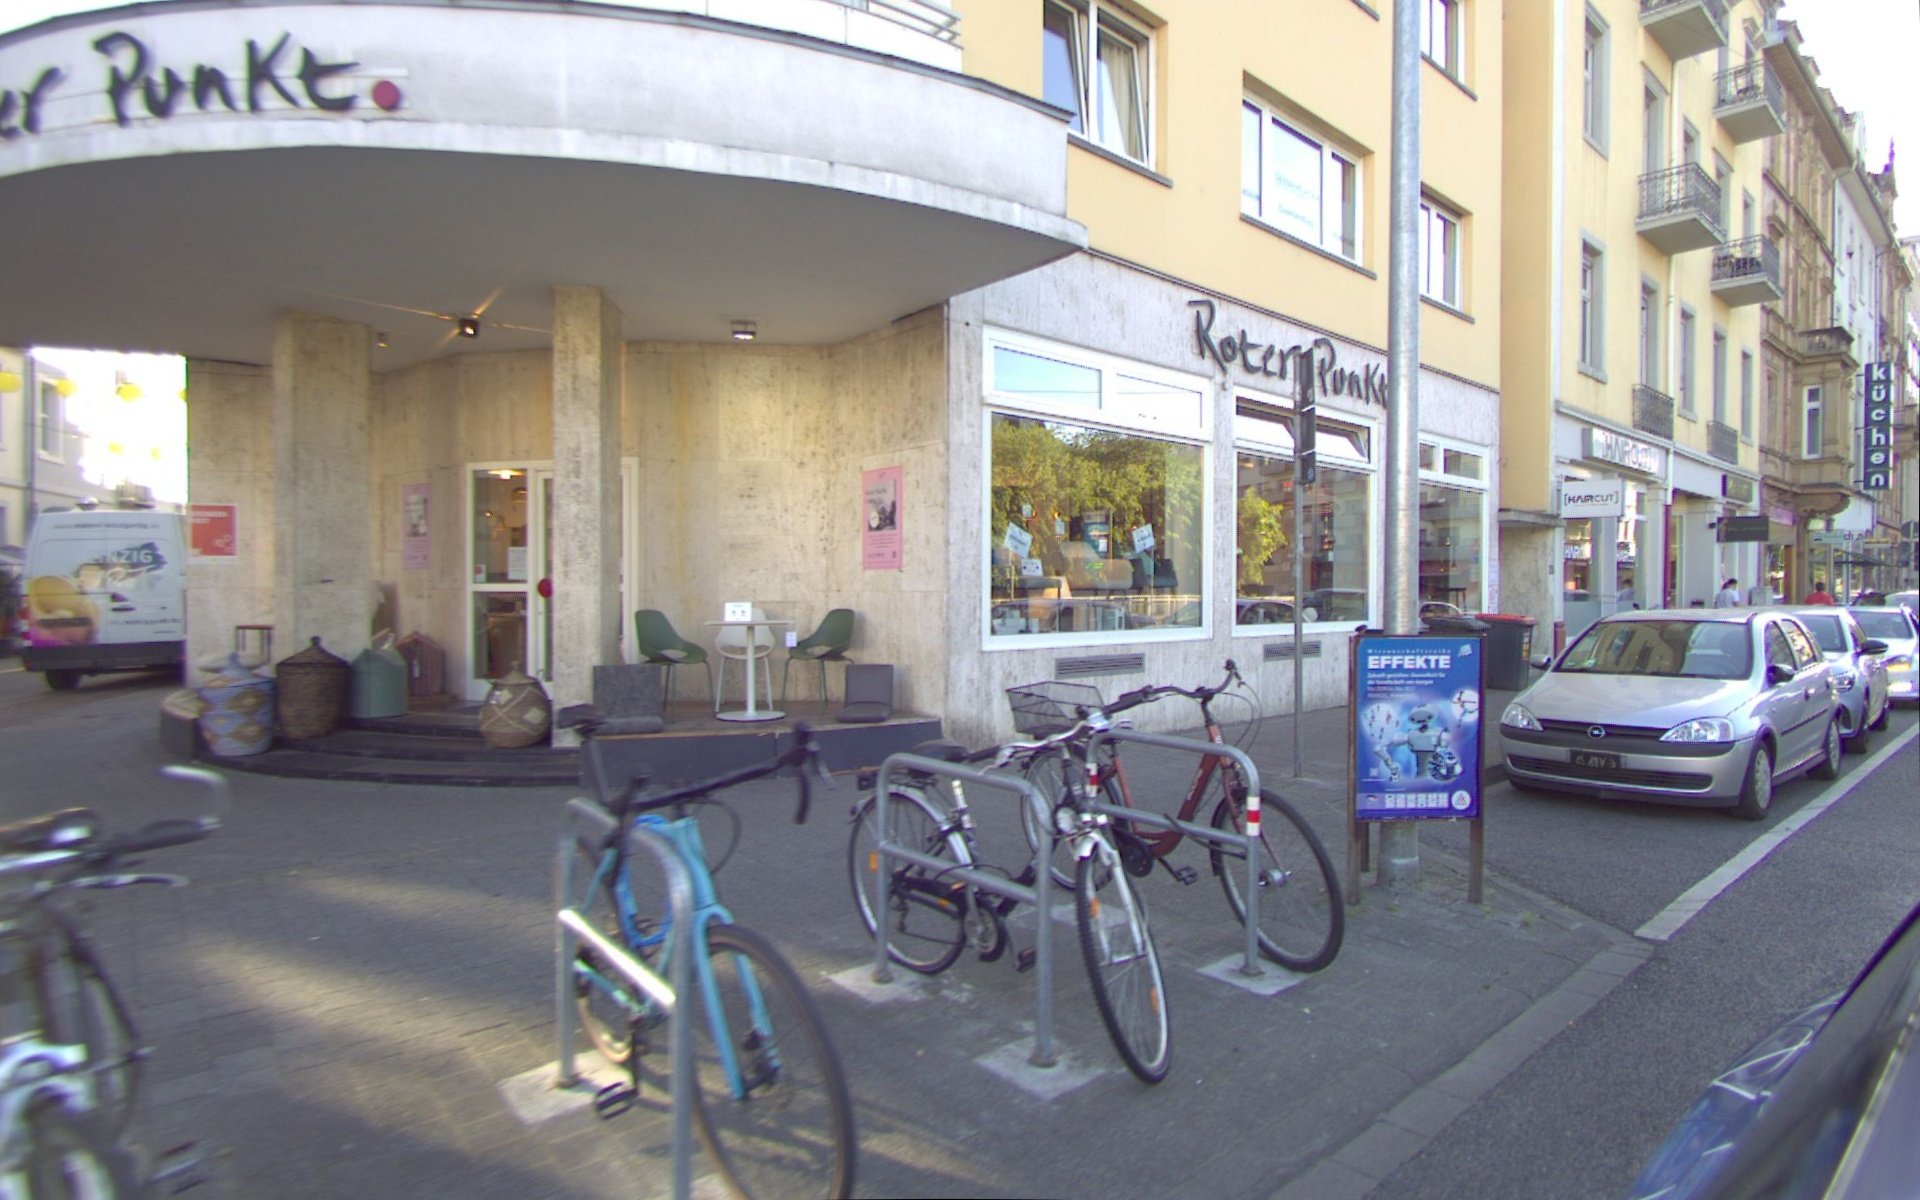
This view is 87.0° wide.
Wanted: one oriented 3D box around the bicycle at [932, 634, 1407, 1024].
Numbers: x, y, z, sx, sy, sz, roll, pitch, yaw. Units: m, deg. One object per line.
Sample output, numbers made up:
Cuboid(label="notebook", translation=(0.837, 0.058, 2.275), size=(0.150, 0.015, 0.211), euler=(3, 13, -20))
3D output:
Cuboid(label="bicycle", translation=(0.773, 0.800, 4.392), size=(0.671, 1.196, 2.048), euler=(0, 1, -40))

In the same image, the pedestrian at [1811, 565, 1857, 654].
Cuboid(label="pedestrian", translation=(19.581, 0.199, 22.668), size=(0.891, 1.930, 0.693), euler=(0, 0, -44))

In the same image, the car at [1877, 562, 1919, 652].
Cuboid(label="car", translation=(23.257, 0.145, 23.841), size=(3.930, 2.039, 1.997), euler=(-1, 1, -41))

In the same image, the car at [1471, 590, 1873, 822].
Cuboid(label="car", translation=(5.853, 0.634, 8.151), size=(3.929, 1.415, 1.692), euler=(-1, 1, -40))

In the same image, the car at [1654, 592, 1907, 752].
Cuboid(label="car", translation=(9.267, 0.649, 11.312), size=(3.934, 1.443, 1.738), euler=(-1, 1, -44))

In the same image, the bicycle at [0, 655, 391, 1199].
Cuboid(label="bicycle", translation=(-1.719, 0.804, 1.790), size=(0.699, 1.259, 2.137), euler=(0, 1, -45))

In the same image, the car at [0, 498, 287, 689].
Cuboid(label="car", translation=(-12.462, -0.134, 15.872), size=(2.026, 2.499, 4.706), euler=(-2, 1, -20))

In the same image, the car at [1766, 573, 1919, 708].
Cuboid(label="car", translation=(13.589, 0.496, 15.015), size=(4.129, 1.756, 1.995), euler=(-1, 1, -43))

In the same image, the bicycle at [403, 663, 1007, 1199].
Cuboid(label="bicycle", translation=(-0.815, 0.833, 2.620), size=(0.741, 1.172, 1.961), euler=(0, 1, -40))

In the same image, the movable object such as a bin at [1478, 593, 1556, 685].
Cuboid(label="movable object such as a bin", translation=(7.982, 0.532, 14.496), size=(0.944, 1.255, 0.702), euler=(0, 0, -41))

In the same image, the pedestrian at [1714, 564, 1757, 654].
Cuboid(label="pedestrian", translation=(17.365, 0.181, 22.663), size=(0.605, 1.978, 0.671), euler=(0, 0, -44))

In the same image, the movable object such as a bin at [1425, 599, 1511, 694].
Cuboid(label="movable object such as a bin", translation=(6.692, 0.585, 13.329), size=(0.944, 1.175, 0.702), euler=(0, 1, -41))

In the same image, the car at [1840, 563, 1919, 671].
Cuboid(label="car", translation=(18.119, 0.280, 19.239), size=(1.993, 1.902, 3.939), euler=(1, 1, 43))

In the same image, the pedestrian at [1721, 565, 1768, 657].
Cuboid(label="pedestrian", translation=(17.018, 0.221, 21.942), size=(0.891, 1.930, 0.693), euler=(0, 0, -44))

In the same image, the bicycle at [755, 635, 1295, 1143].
Cuboid(label="bicycle", translation=(0.081, 0.772, 3.585), size=(0.703, 1.164, 2.026), euler=(0, 2, -40))
